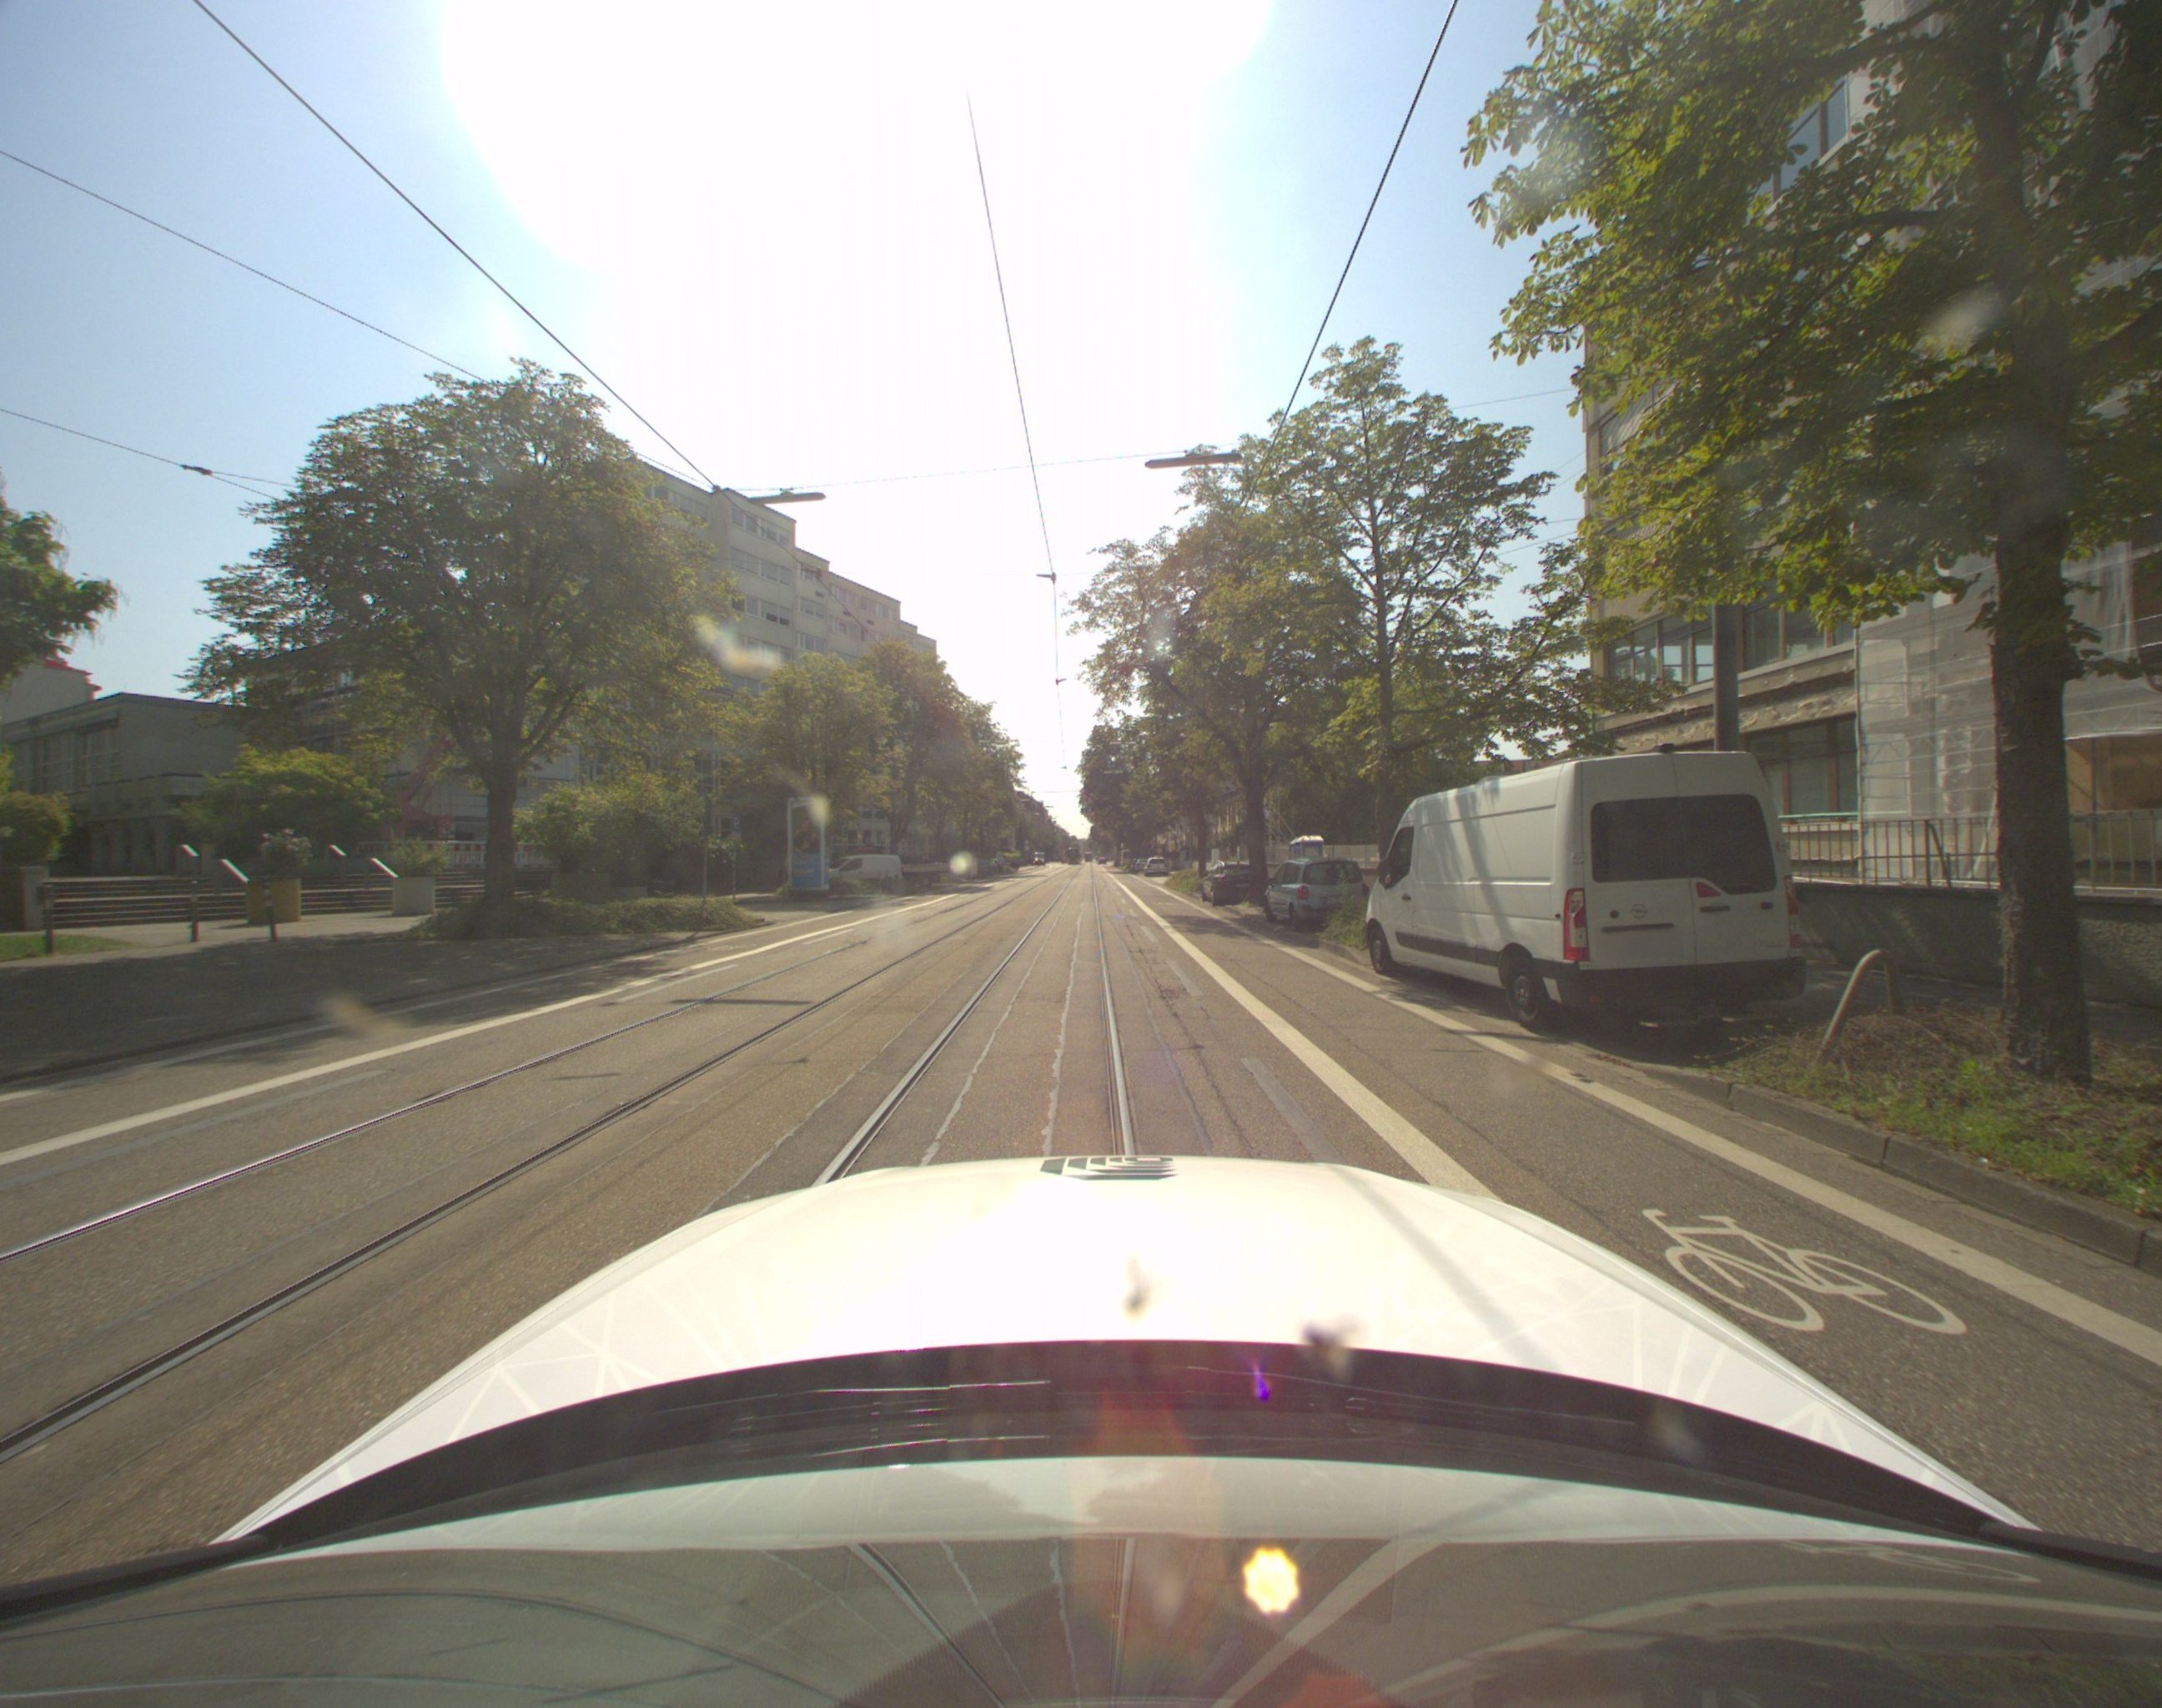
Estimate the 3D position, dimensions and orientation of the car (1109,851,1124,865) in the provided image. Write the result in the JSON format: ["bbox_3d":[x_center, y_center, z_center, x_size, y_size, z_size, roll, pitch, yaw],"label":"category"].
[{"bbox_3d":[5.710,0.613,130.549,1.990,2.233,3.994,-1,0,-4],"label":"car"}]

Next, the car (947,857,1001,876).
[{"bbox_3d":[-9.362,1.104,71.696,1.655,1.451,4.717,-1,1,44],"label":"car"}]

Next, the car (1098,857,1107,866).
[{"bbox_3d":[4.470,1.620,170.317,1.986,1.801,4.000,0,0,1],"label":"car"}]

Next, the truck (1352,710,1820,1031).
[{"bbox_3d":[5.044,0.147,9.427,1.911,2.599,5.590,-1,0,0],"label":"truck"}]

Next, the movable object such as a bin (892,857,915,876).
[{"bbox_3d":[-15.373,1.103,70.675,1.678,1.559,1.353,-1,-1,-1],"label":"movable object such as a bin"}]

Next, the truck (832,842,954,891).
[{"bbox_3d":[-9.883,0.623,43.146,5.998,2.434,2.126,-1,0,-39],"label":"truck"}]

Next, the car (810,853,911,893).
[{"bbox_3d":[-10.486,0.857,38.945,4.309,1.772,1.803,-1,0,-43],"label":"car"}]

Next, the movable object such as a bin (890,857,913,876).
[{"bbox_3d":[-15.214,1.091,69.120,1.678,1.559,1.353,-1,-1,-1],"label":"movable object such as a bin"}]

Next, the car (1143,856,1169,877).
[{"bbox_3d":[5.725,0.929,62.184,1.784,1.446,3.736,-2,0,3],"label":"car"}]

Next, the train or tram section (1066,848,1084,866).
[{"bbox_3d":[-1.255,0.517,174.940,3.484,3.704,12.416,0,0,2],"label":"train or tram section"}]

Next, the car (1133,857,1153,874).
[{"bbox_3d":[5.740,1.034,75.675,1.635,1.511,3.641,0,-1,1],"label":"car"}]

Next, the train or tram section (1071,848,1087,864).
[{"bbox_3d":[-0.488,0.422,199.786,3.484,3.704,12.416,0,0,2],"label":"train or tram section"}]

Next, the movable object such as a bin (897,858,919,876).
[{"bbox_3d":[-15.333,1.124,72.152,1.678,1.559,1.353,-1,-1,-1],"label":"movable object such as a bin"}]

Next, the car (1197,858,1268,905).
[{"bbox_3d":[5.238,0.907,28.638,1.668,1.458,4.664,-2,0,1],"label":"car"}]

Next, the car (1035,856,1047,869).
[{"bbox_3d":[-7.468,1.589,153.318,2.237,2.441,3.996,0,0,-3],"label":"car"}]

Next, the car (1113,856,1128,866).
[{"bbox_3d":[5.953,1.037,123.721,1.988,1.398,3.997,-1,0,-2],"label":"car"}]

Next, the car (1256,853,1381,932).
[{"bbox_3d":[5.367,0.819,18.945,1.668,1.580,4.172,-2,-1,1],"label":"car"}]

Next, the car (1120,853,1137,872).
[{"bbox_3d":[6.069,1.068,103.434,1.986,2.365,4.000,0,-1,1],"label":"car"}]

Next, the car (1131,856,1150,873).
[{"bbox_3d":[5.919,1.022,81.850,1.787,1.577,4.002,-1,0,2],"label":"car"}]
